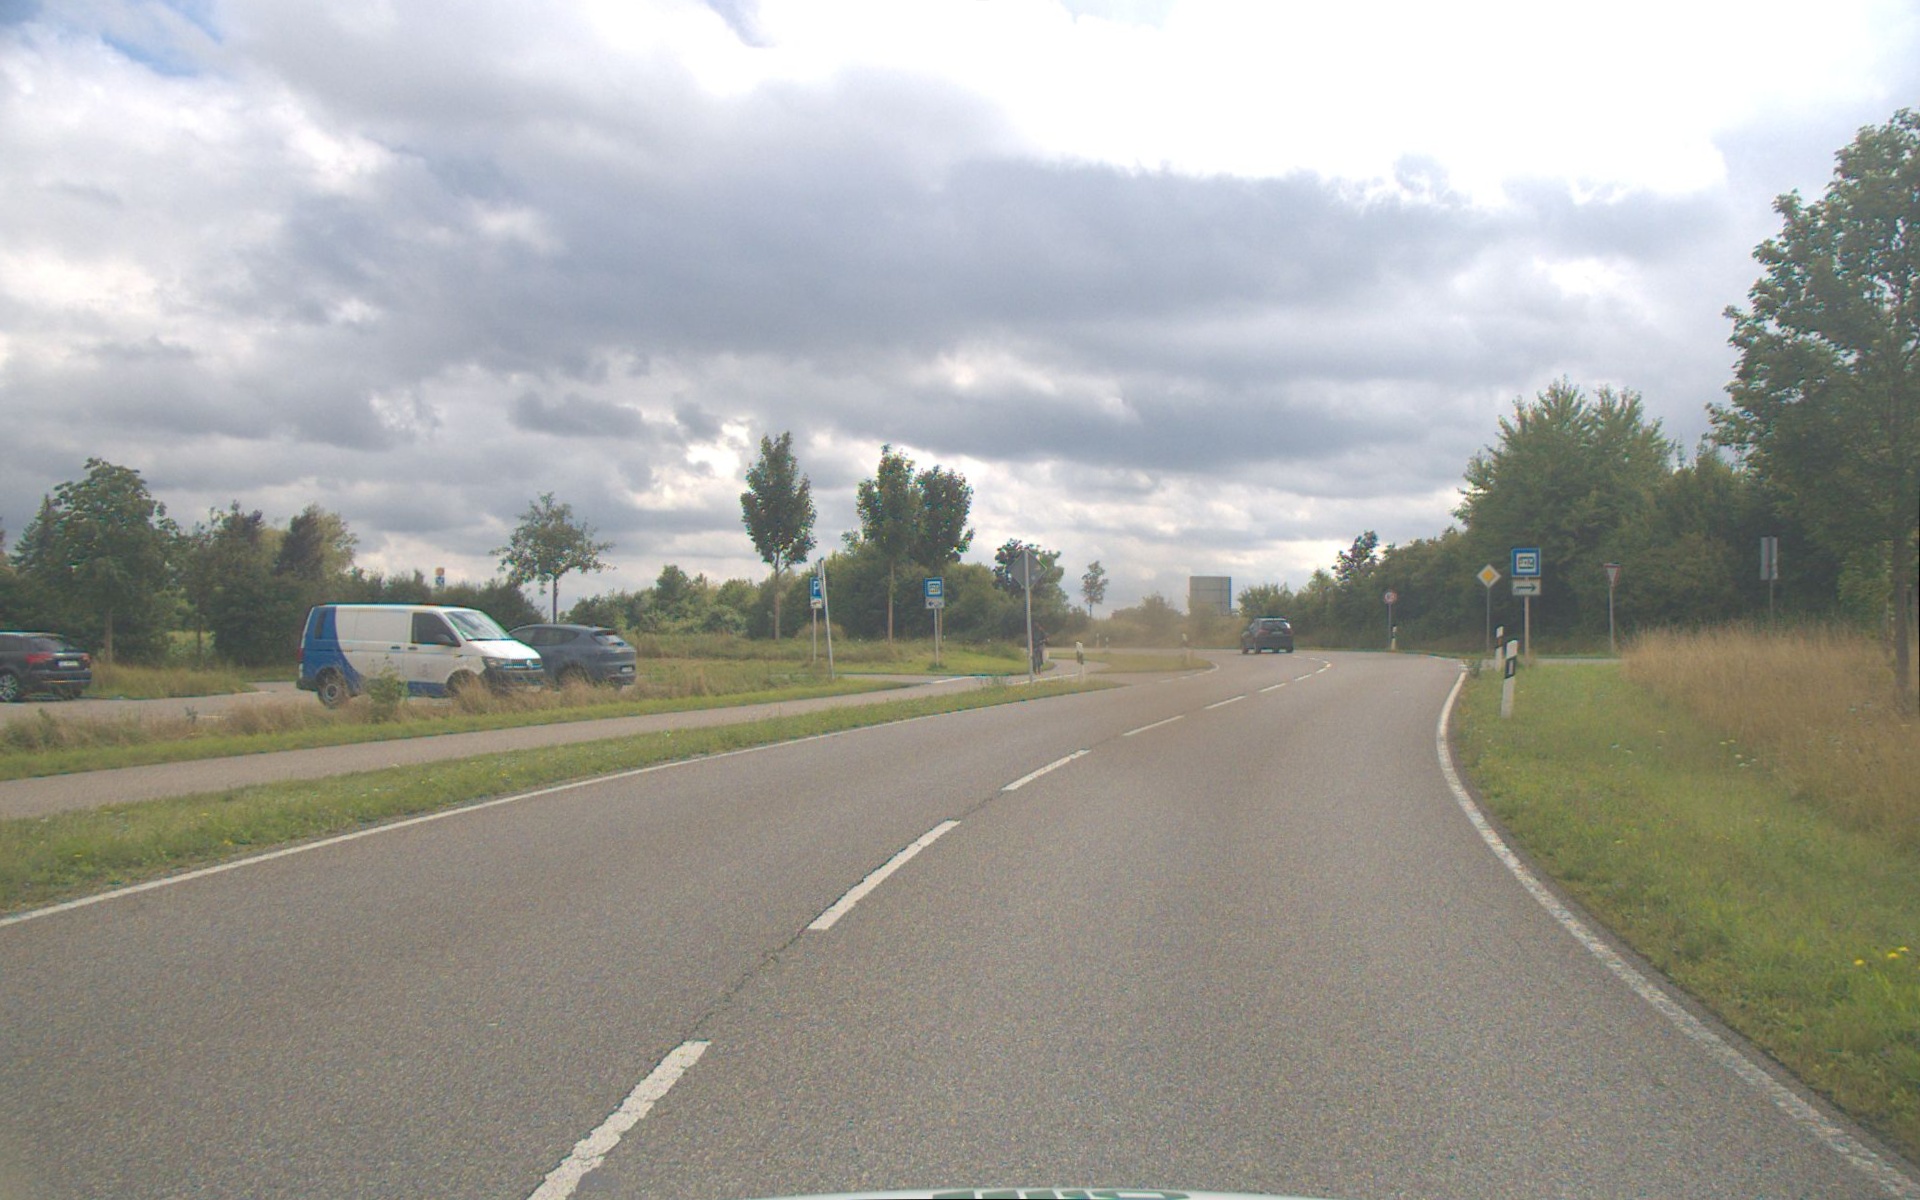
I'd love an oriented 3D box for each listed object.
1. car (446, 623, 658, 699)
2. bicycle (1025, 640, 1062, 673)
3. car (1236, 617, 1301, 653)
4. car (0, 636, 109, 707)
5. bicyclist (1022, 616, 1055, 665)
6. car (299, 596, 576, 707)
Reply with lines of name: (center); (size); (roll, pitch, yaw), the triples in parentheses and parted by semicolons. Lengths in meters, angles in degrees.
car: (-9.085, 1.344, 36.912); (4.158, 1.623, 2.001); (-1, -1, 17)
bicycle: (2.768, 1.857, 54.641); (0.622, 1.050, 2.191); (-1, -1, 18)
car: (14.984, 1.694, 80.624); (1.871, 1.696, 3.991); (0, -1, -9)
car: (-20.525, 1.497, 35.257); (3.902, 1.412, 1.843); (0, -1, 10)
bicyclist: (2.583, 1.321, 54.391); (0.813, 1.593, 1.055); (-1, -1, 20)
car: (-10.134, 1.002, 32.159); (4.790, 2.049, 2.058); (-1, -1, 16)
